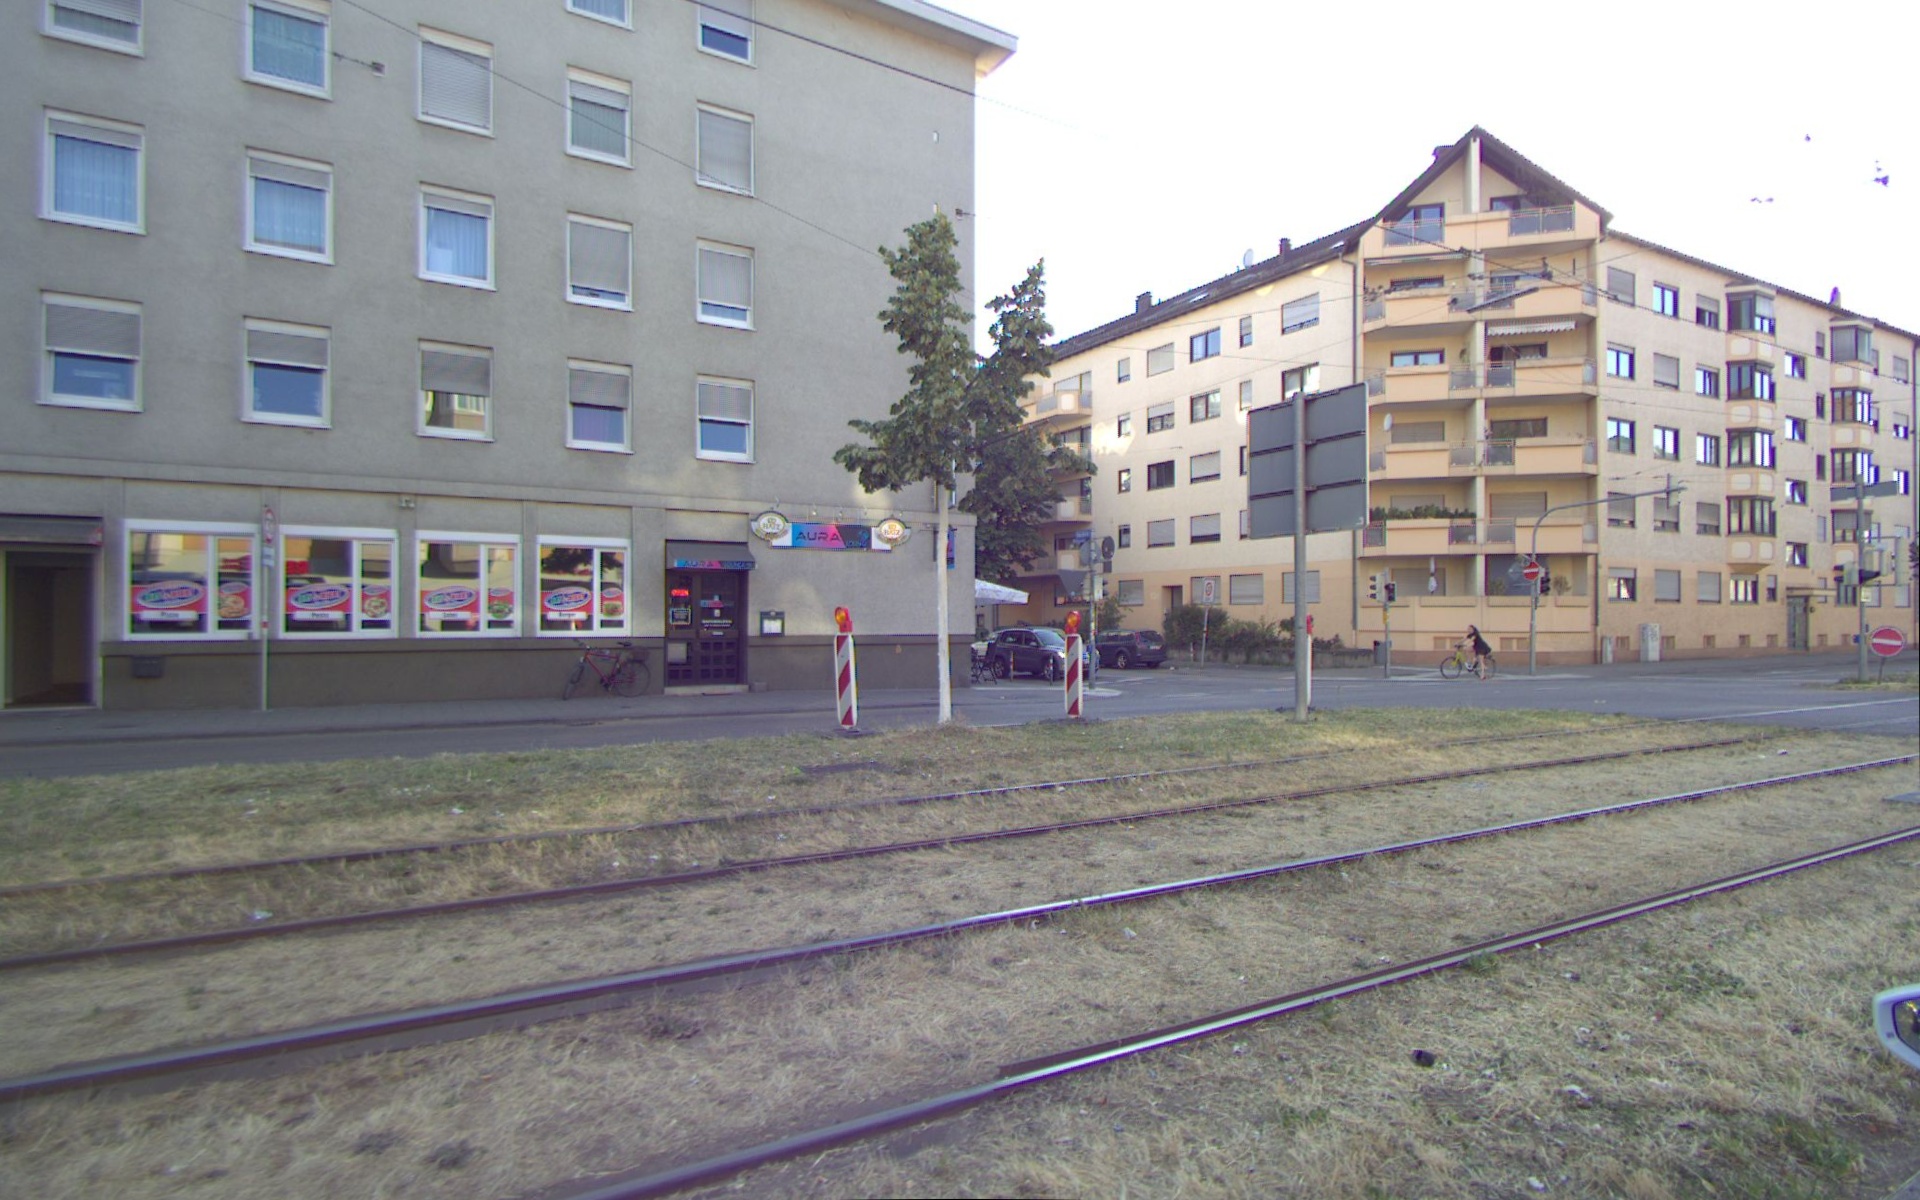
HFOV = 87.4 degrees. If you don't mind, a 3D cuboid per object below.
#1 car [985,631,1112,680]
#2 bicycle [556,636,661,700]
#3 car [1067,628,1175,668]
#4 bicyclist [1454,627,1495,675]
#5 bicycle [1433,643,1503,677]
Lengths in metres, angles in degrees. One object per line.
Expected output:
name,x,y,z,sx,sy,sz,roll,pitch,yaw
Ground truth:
car,2.804,1.742,32.499,1.751,1.406,4.074,1,-2,-39
bicycle,-6.568,1.256,18.800,1.757,1.129,0.743,1,-1,-30
car,6.140,1.822,38.654,1.776,1.458,3.926,1,-2,-39
bicyclist,15.585,1.539,30.447,0.946,1.466,0.529,0,-1,1
bicycle,15.383,1.805,30.444,1.846,0.997,0.529,0,-1,1
